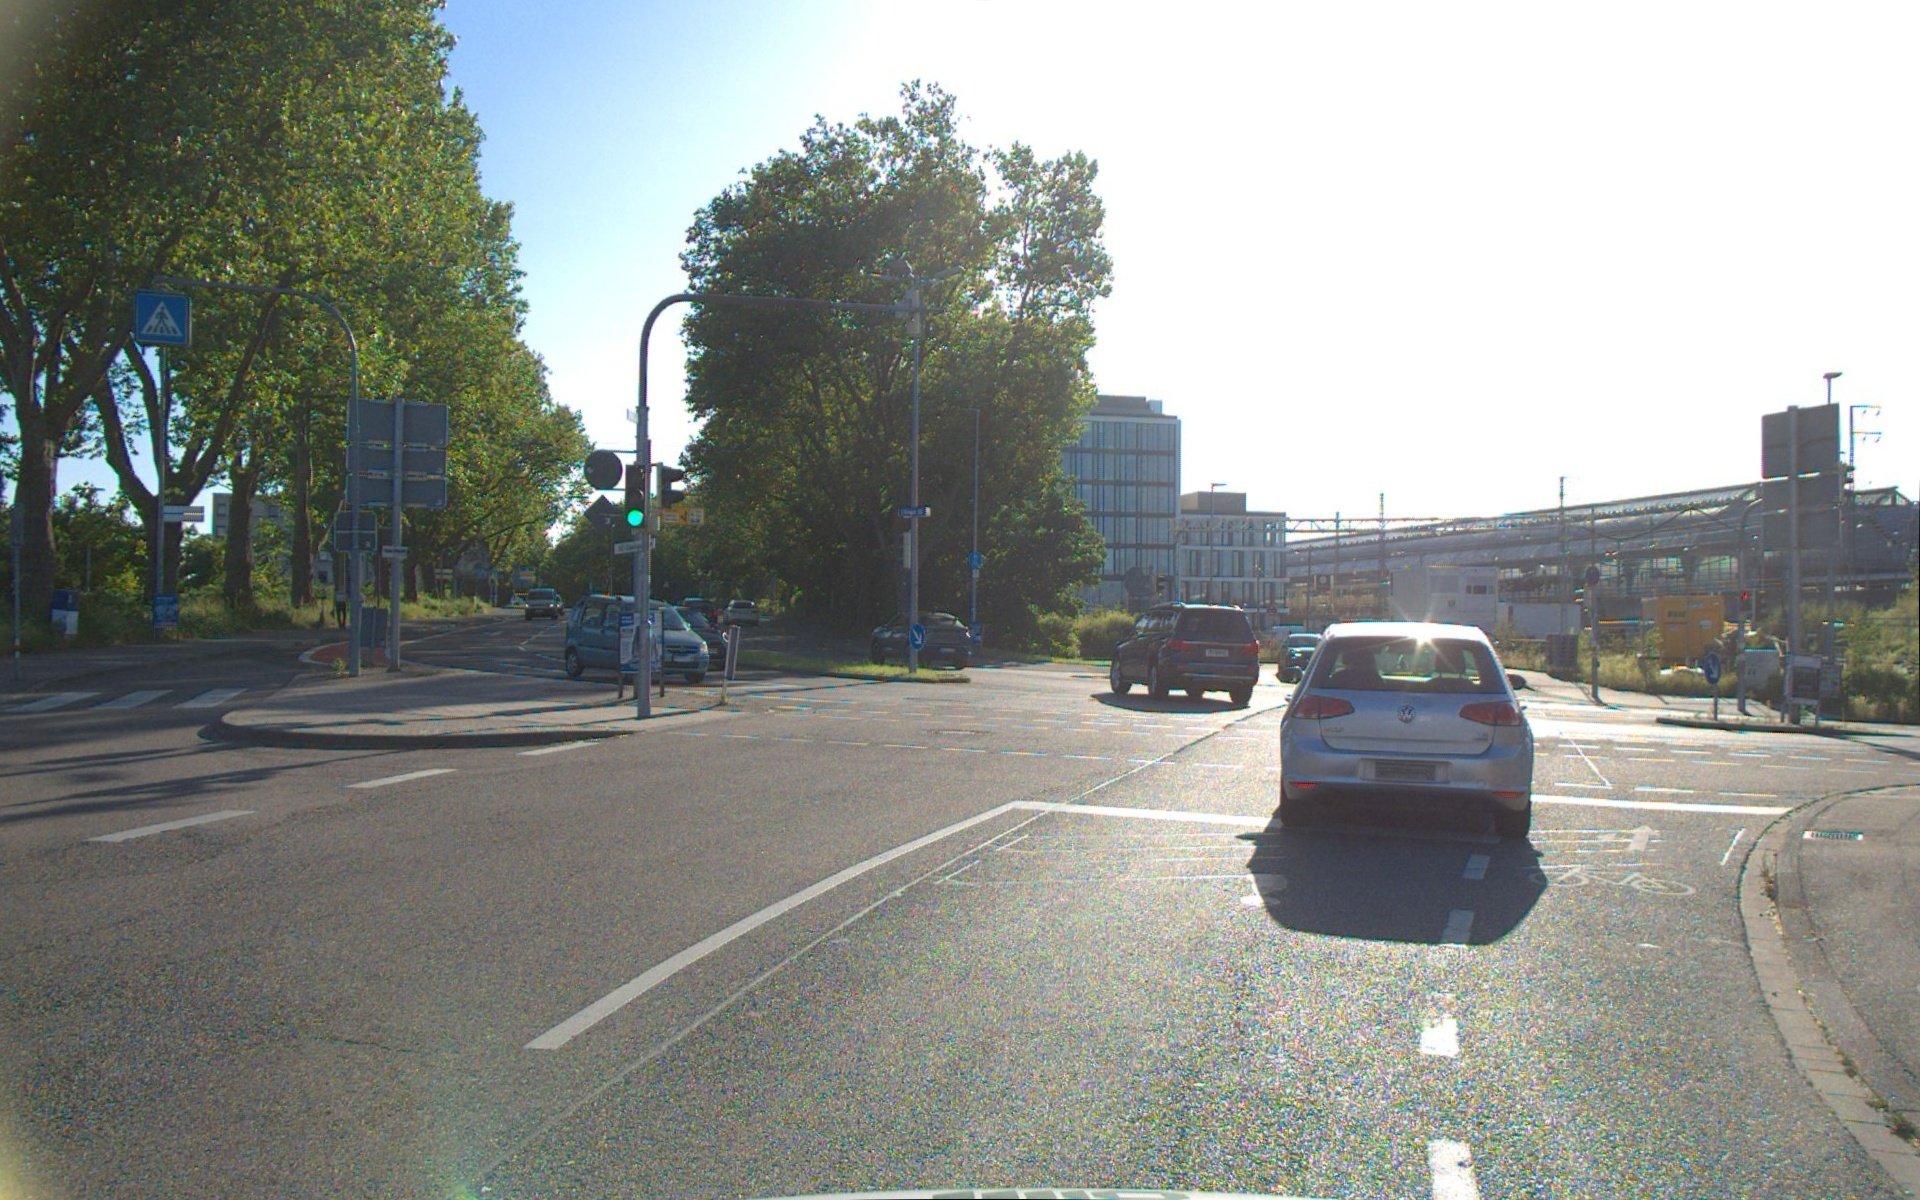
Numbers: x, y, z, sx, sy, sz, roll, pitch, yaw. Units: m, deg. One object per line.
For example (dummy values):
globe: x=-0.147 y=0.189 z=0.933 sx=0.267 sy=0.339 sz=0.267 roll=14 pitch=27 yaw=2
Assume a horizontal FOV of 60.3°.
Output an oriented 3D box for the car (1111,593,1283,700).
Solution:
car: x=4.554 y=0.873 z=32.571 sx=2.073 sy=1.920 sz=4.803 roll=1 pitch=-1 yaw=-8

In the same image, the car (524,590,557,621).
car: x=-25.245 y=0.349 z=99.676 sx=1.822 sy=1.774 sz=4.252 roll=1 pitch=-1 yaw=-13

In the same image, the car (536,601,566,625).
car: x=-29.898 y=0.948 z=120.976 sx=1.820 sy=1.627 sz=4.313 roll=2 pitch=-1 yaw=-11

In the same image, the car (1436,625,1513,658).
car: x=29.662 y=2.369 z=95.358 sx=3.909 sy=1.735 sz=1.614 roll=2 pitch=-1 yaw=-4

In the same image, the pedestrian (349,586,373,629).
pedestrian: x=-22.933 y=0.282 z=63.333 sx=0.715 sy=1.620 sz=0.802 roll=1 pitch=-1 yaw=-11

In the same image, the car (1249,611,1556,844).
car: x=3.422 y=0.845 z=12.753 sx=1.928 sy=1.452 sz=3.939 roll=1 pitch=-1 yaw=16

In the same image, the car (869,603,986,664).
car: x=-1.038 y=0.988 z=50.185 sx=1.919 sy=1.743 sz=4.164 roll=1 pitch=-1 yaw=-27

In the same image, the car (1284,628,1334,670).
car: x=13.345 y=1.846 z=63.402 sx=1.710 sy=1.502 sz=4.003 roll=1 pitch=-1 yaw=10

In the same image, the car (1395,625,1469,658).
car: x=28.254 y=2.471 z=99.152 sx=3.909 sy=1.819 sz=1.653 roll=2 pitch=-1 yaw=-4

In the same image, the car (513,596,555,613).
car: x=-44.196 y=0.469 z=171.455 sx=3.936 sy=1.669 sz=1.984 roll=1 pitch=-1 yaw=-25

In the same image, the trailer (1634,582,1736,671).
trailer: x=29.422 y=1.109 z=67.386 sx=2.932 sy=3.349 sz=6.671 roll=2 pitch=-1 yaw=17

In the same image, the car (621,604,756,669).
car: x=-6.668 y=0.862 z=40.331 sx=1.884 sy=1.452 sz=3.893 roll=2 pitch=-1 yaw=-32

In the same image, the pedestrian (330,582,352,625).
pedestrian: x=-23.620 y=0.136 z=63.164 sx=0.651 sy=1.614 sz=0.630 roll=1 pitch=-1 yaw=-11

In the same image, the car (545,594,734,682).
car: x=-6.588 y=0.749 z=33.752 sx=1.906 sy=1.664 sz=4.055 roll=2 pitch=-1 yaw=-44

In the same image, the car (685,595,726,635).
car: x=-11.903 y=0.709 z=77.508 sx=1.819 sy=1.774 sz=4.257 roll=1 pitch=-1 yaw=-9

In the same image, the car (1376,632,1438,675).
car: x=16.803 y=1.992 z=62.354 sx=1.711 sy=1.502 sz=4.003 roll=1 pitch=-1 yaw=7

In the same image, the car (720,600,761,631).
car: x=-12.479 y=0.879 z=93.861 sx=1.823 sy=1.679 sz=4.249 roll=1 pitch=-1 yaw=-15
